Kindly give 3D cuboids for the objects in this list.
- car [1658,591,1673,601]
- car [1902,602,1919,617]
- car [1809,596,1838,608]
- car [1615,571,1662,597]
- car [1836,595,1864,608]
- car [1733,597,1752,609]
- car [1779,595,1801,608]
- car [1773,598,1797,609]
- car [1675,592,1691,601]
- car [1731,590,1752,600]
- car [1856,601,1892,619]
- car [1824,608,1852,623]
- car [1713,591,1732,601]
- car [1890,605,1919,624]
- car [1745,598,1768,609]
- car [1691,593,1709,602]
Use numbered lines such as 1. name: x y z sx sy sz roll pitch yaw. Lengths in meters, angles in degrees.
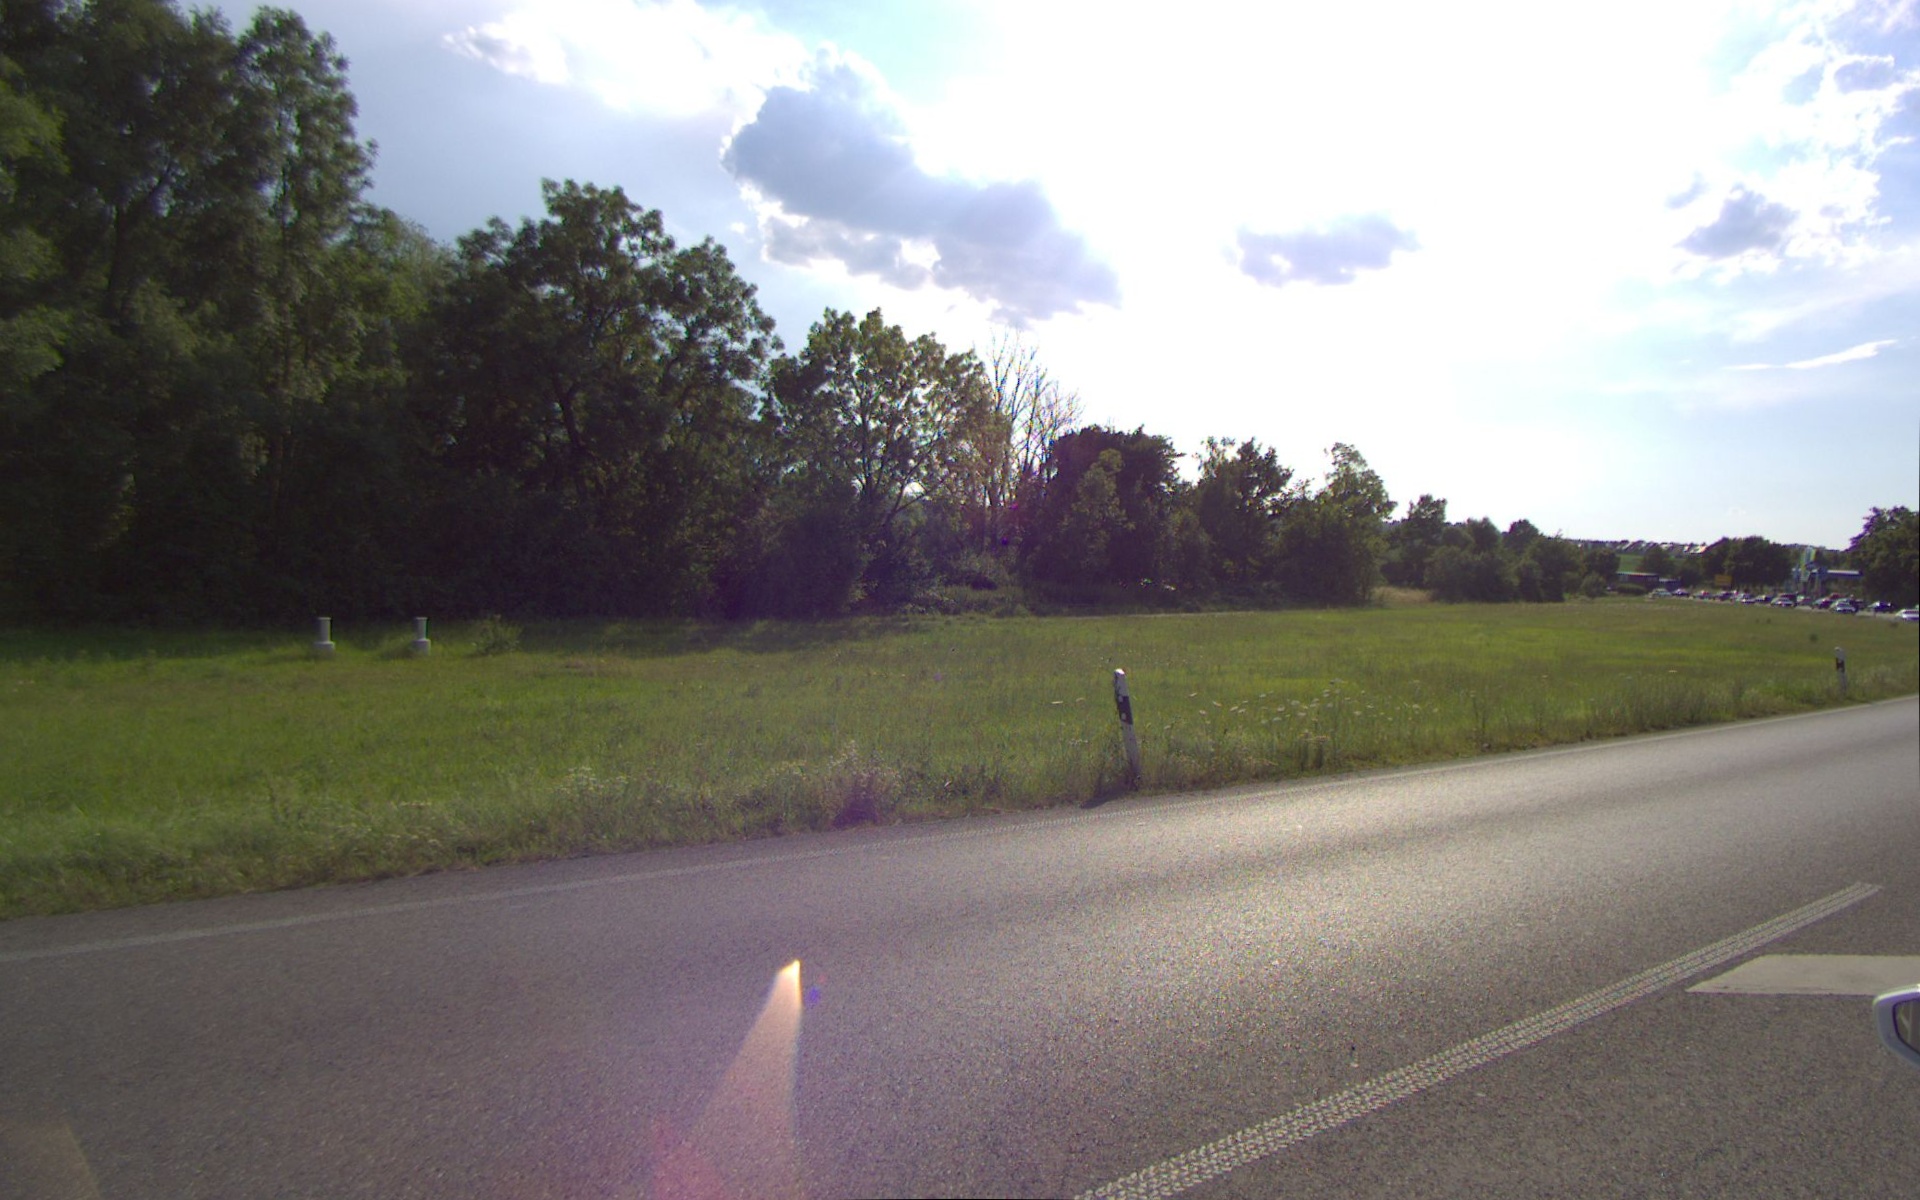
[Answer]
1. car: 131.661 -0.744 187.414 1.814 1.678 3.992 2 0 30
2. car: 112.554 1.126 117.841 2.054 1.621 3.992 2 1 30
3. car: 124.442 0.333 144.802 2.052 1.621 3.997 2 1 24
4. car: 142.632 -3.385 211.338 3.481 5.127 13.248 2 1 13
5. car: 121.487 0.194 137.116 2.054 1.621 3.992 2 1 30
6. car: 122.853 0.470 157.696 1.815 1.678 3.991 2 0 31
7. car: 116.055 0.227 140.484 1.815 1.678 3.991 2 0 31
8. car: 128.903 0.472 157.000 2.053 1.621 3.995 2 1 26
9. car: 139.492 -0.647 193.822 1.852 1.621 3.996 2 1 25
10. car: 134.449 -0.835 172.840 1.852 1.621 3.996 2 1 24
11. car: 90.748 1.016 99.788 1.815 1.678 3.991 2 0 31
12. car: 105.117 1.859 120.319 1.815 1.678 3.991 2 0 31
13. car: 135.928 -0.764 179.073 1.852 1.621 3.996 2 1 25
14. car: 91.476 1.388 96.598 1.813 1.678 3.996 2 0 26
15. car: 131.595 0.543 165.966 2.053 1.621 3.995 2 1 26
16. car: 137.909 -0.521 187.247 1.852 1.621 3.996 2 1 25
